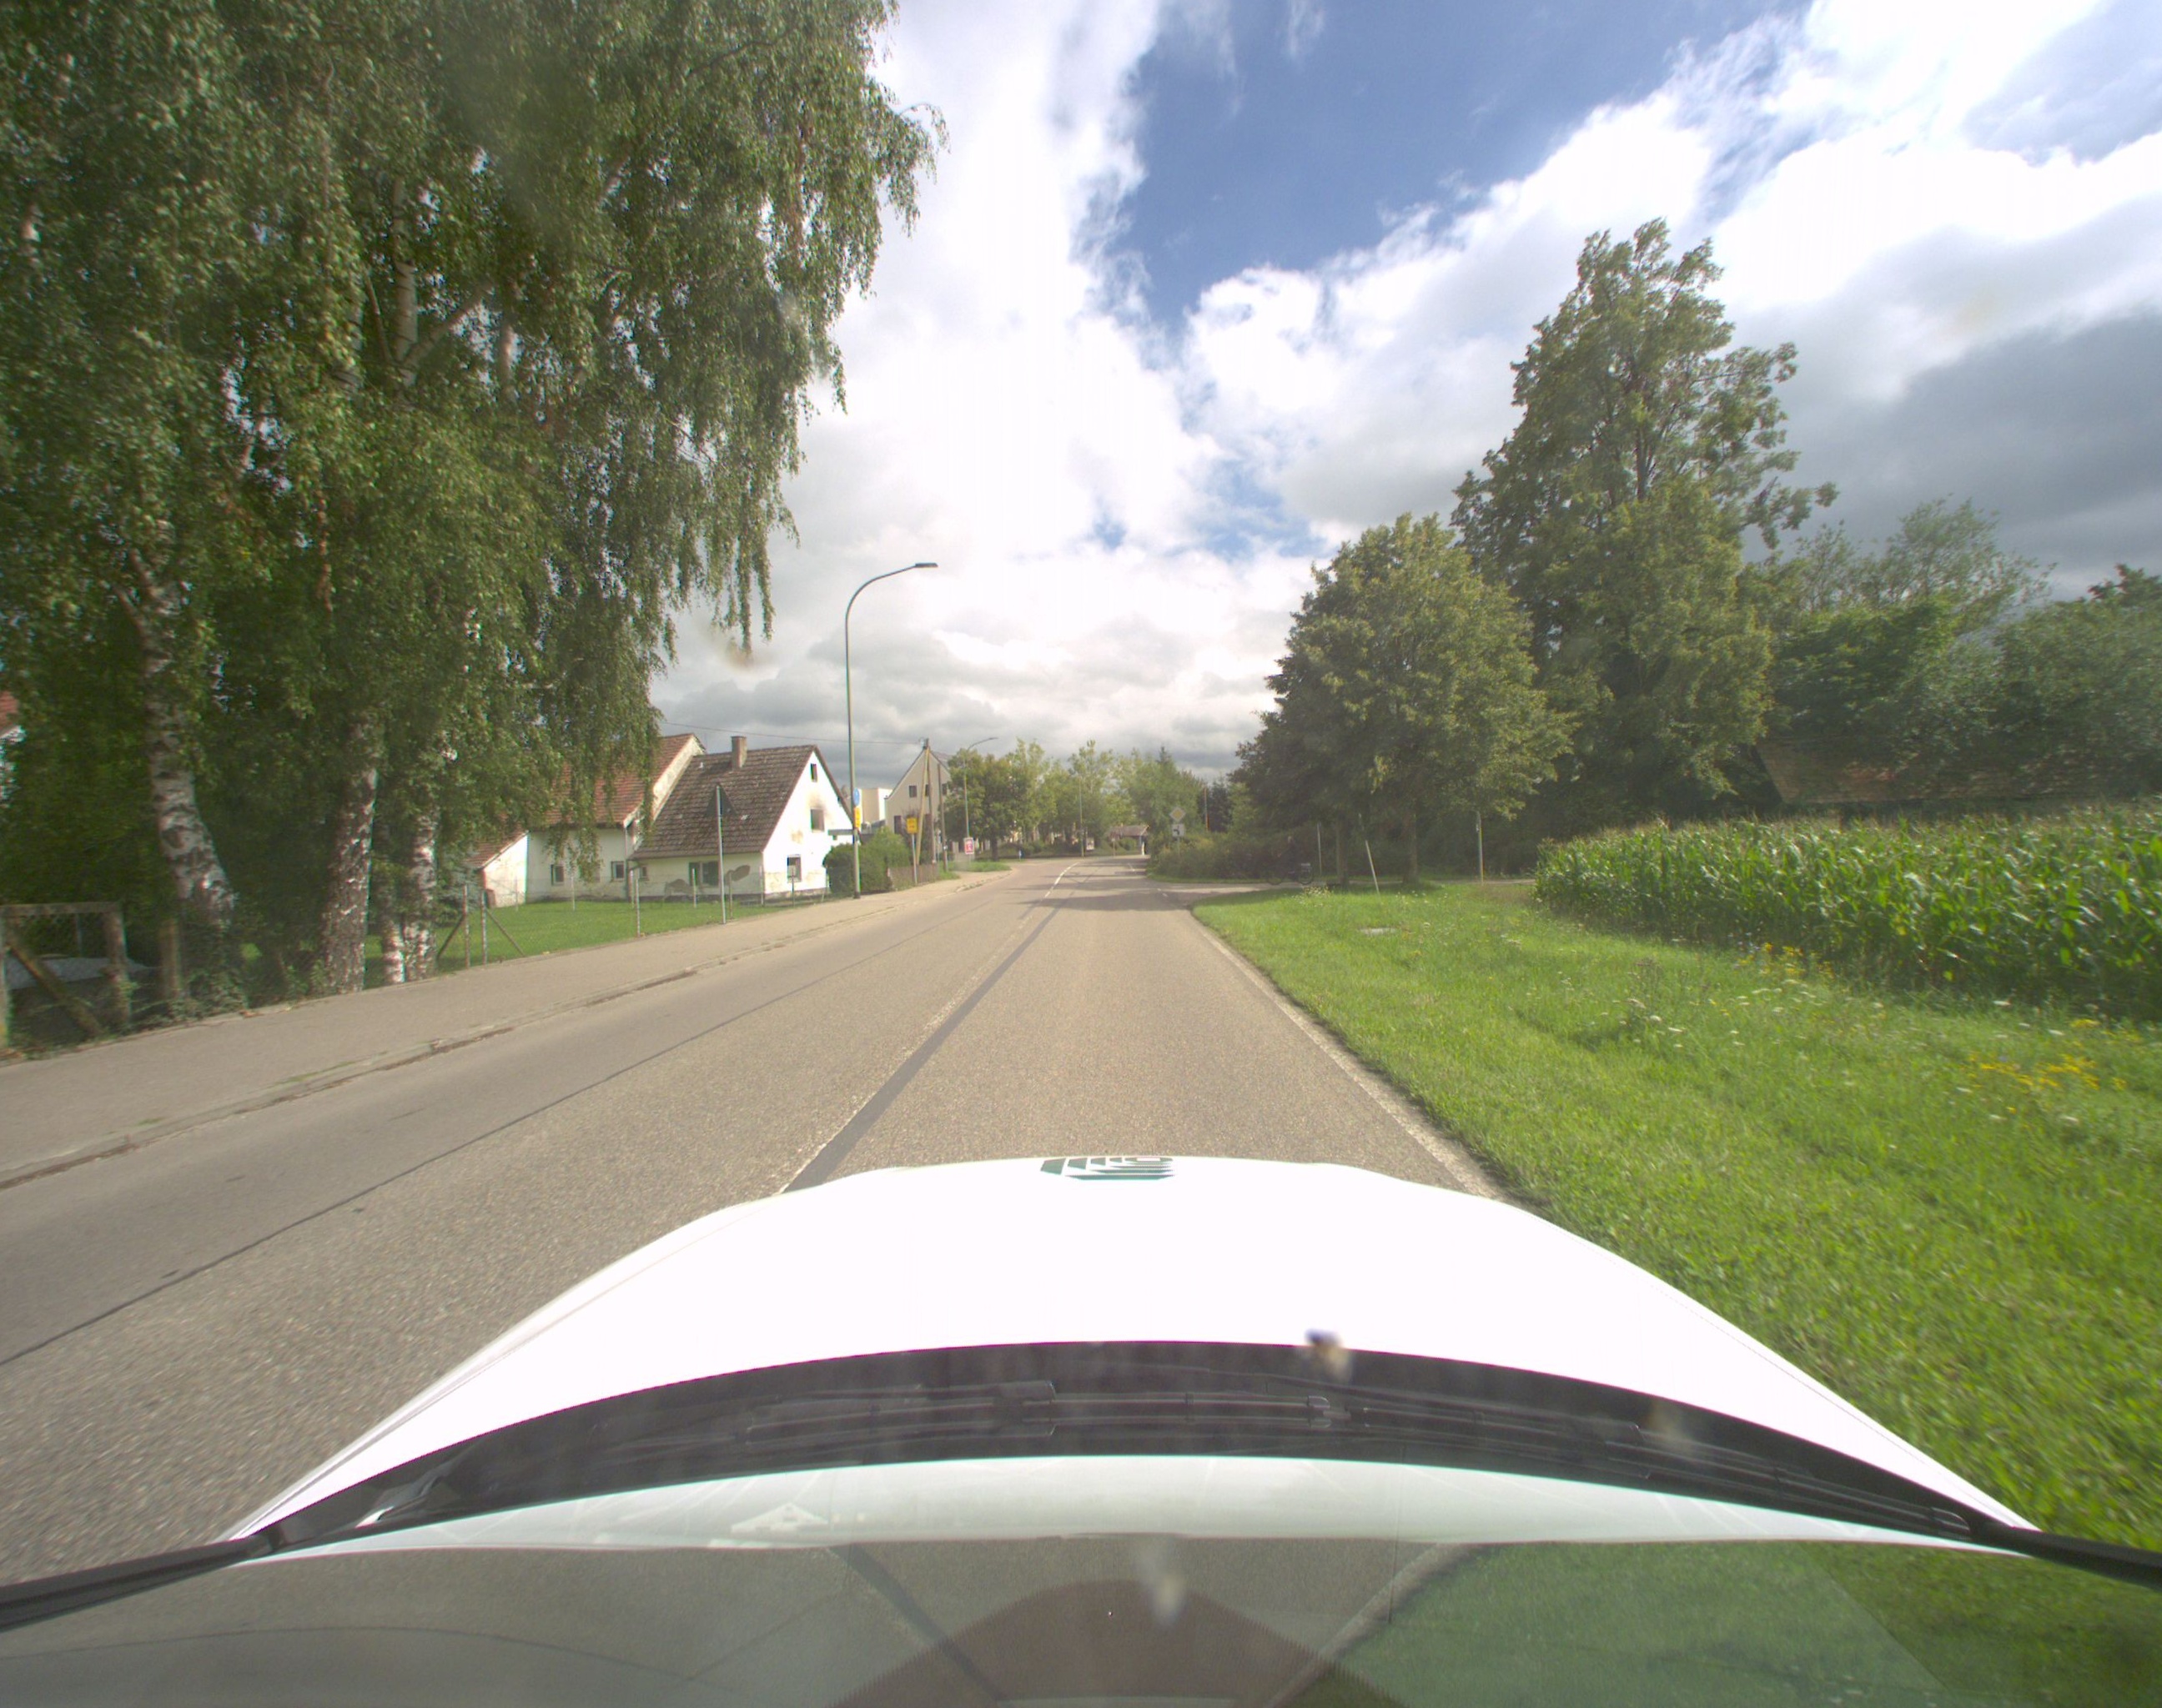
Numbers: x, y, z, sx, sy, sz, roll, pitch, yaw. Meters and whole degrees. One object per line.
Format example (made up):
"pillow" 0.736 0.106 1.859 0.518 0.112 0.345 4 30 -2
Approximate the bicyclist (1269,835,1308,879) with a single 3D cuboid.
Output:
"bicyclist" 7.708 0.114 30.312 1.018 1.585 1.049 -1 0 -13

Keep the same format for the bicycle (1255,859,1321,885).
"bicycle" 7.690 0.646 30.312 2.117 0.864 1.049 -2 1 -13
